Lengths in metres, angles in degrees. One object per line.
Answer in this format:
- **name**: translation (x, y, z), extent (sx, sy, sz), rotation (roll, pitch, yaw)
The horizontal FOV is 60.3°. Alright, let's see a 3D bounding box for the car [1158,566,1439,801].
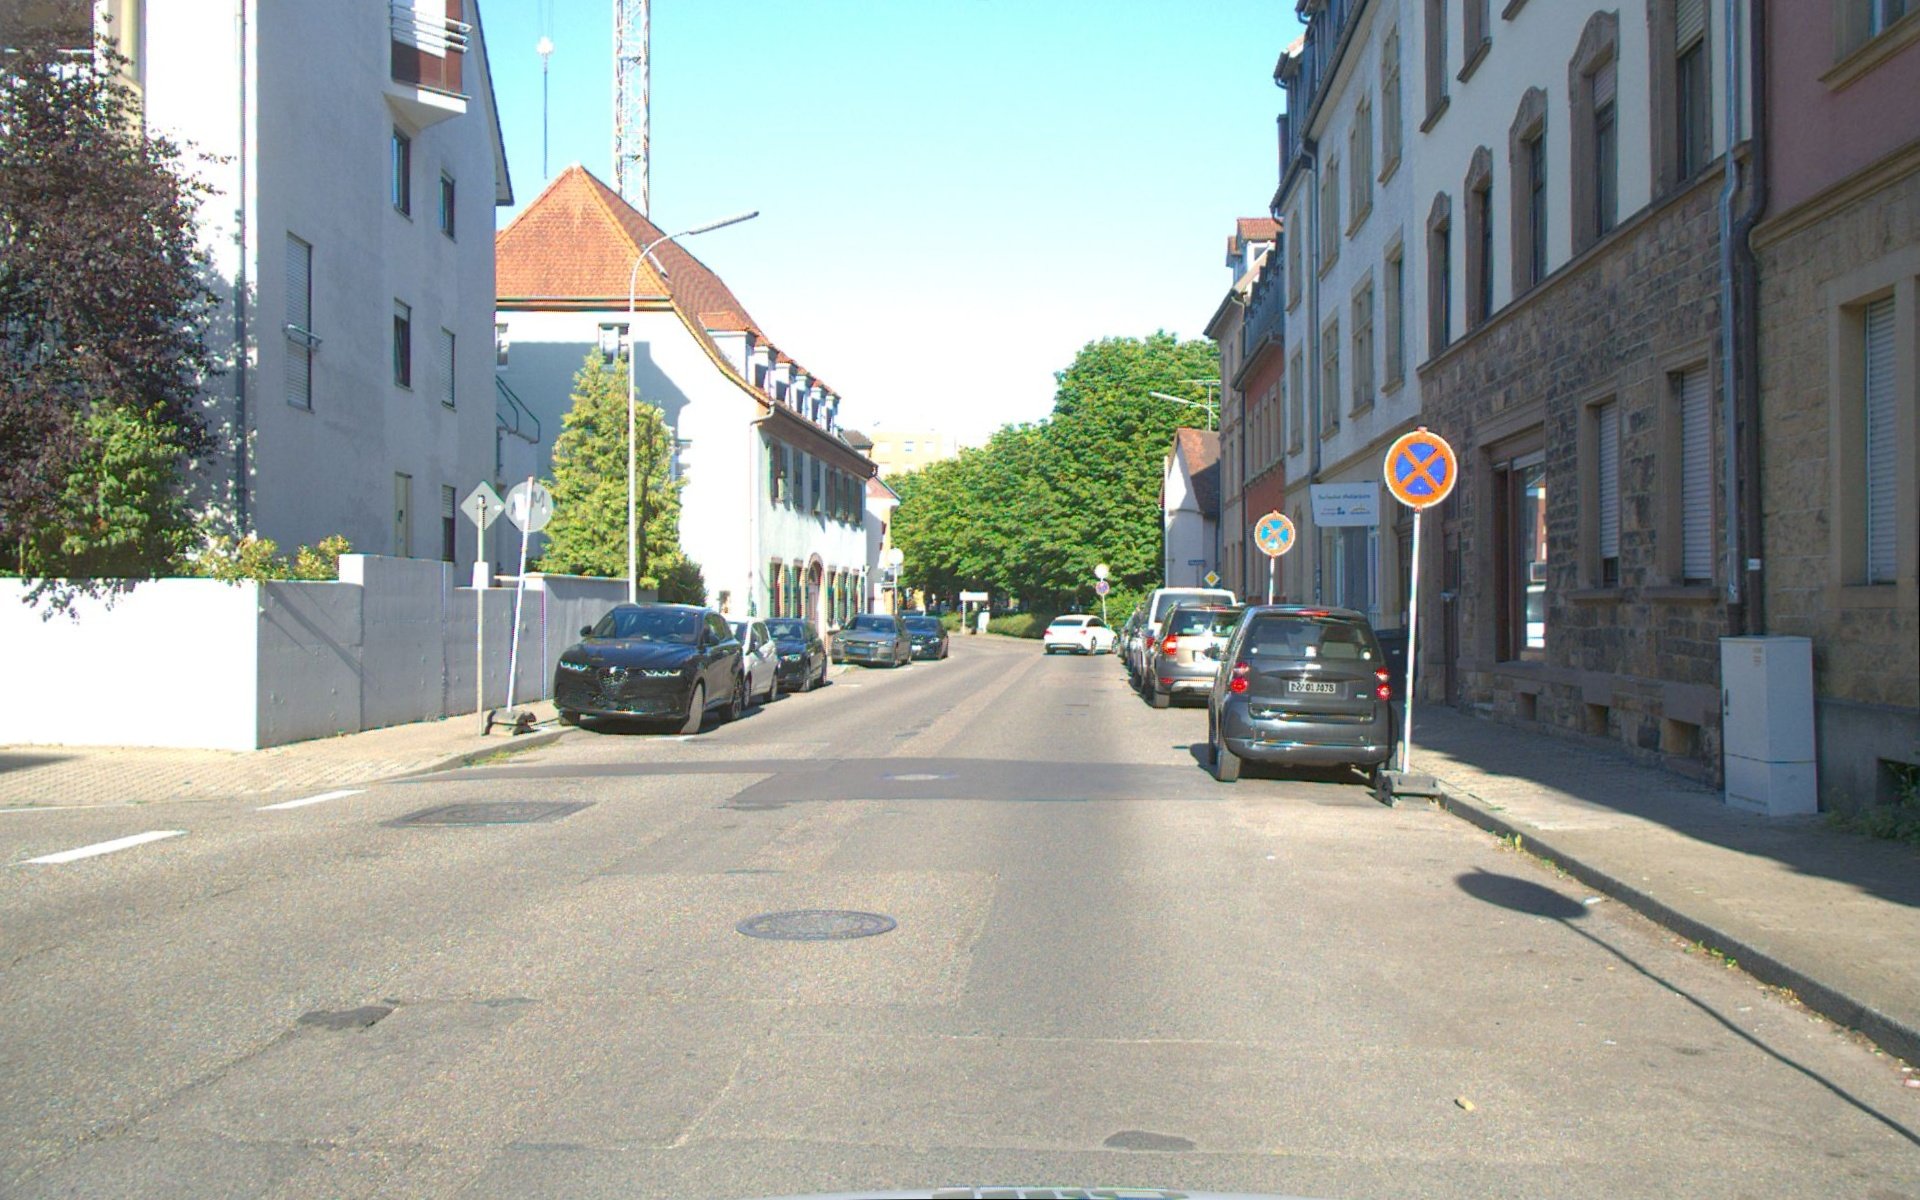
- **car**: translation (3.077, 0.714, 15.873), extent (1.969, 1.885, 4.001), rotation (2, 0, 2)

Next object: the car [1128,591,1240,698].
- **car**: translation (4.280, 0.828, 32.121), extent (1.802, 1.939, 4.001), rotation (0, -1, 3)

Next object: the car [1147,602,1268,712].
- **car**: translation (3.996, 0.886, 27.203), extent (1.779, 1.659, 4.003), rotation (0, -1, 6)

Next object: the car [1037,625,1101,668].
- **car**: translation (3.938, 1.676, 60.345), extent (1.953, 1.492, 3.998), rotation (1, -1, -2)

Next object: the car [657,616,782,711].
- **car**: translation (-3.957, 1.014, 27.636), extent (1.521, 1.483, 3.062), rotation (0, -1, 2)

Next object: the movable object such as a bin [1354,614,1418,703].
- **movable object such as a bin**: translation (6.821, 0.927, 26.509), extent (0.853, 1.402, 0.685), rotation (-1, 0, 3)

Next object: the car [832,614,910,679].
- **car**: translation (-2.527, 1.313, 47.899), extent (1.870, 1.791, 4.129), rotation (0, -1, 2)

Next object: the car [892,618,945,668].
- **car**: translation (-1.408, 1.440, 56.796), extent (1.597, 1.659, 3.175), rotation (0, -1, 2)

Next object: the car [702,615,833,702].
- **car**: translation (-3.829, 1.140, 33.592), extent (2.049, 1.659, 3.823), rotation (0, -1, 2)
